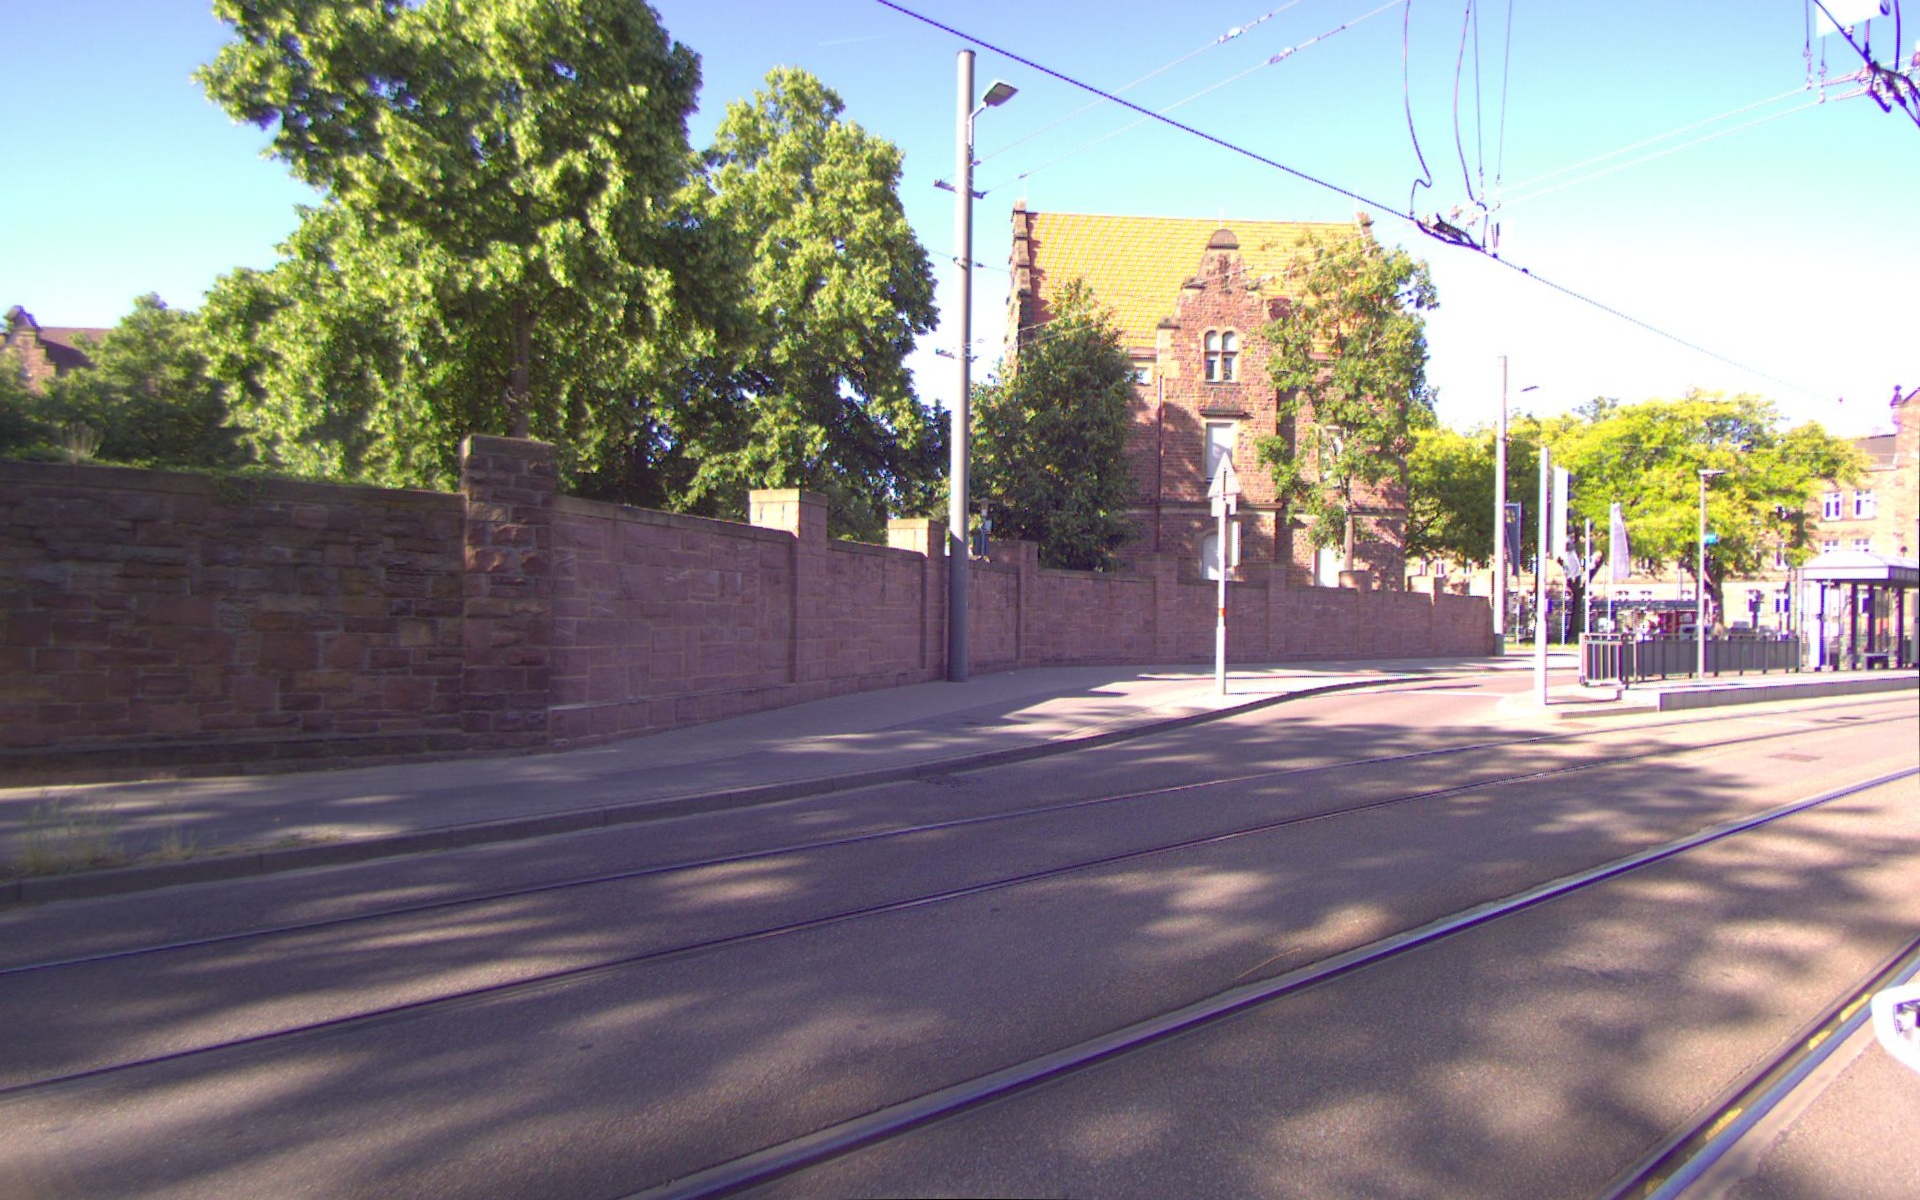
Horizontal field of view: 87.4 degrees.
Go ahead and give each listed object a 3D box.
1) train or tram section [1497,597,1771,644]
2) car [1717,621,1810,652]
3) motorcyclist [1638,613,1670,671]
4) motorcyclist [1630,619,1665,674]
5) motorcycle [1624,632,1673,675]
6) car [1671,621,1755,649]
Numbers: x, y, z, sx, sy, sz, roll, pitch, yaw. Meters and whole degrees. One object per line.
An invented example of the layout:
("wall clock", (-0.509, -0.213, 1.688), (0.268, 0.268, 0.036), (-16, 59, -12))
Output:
("train or tram section", (50.038, 1.459, 75.883), (3.312, 3.196, 17.280), (2, -1, -33))
("car", (47.761, 2.160, 59.795), (1.798, 1.651, 3.964), (2, 0, -32))
("motorcyclist", (18.898, 1.135, 27.356), (0.462, 1.536, 0.601), (1, 0, -40))
("motorcyclist", (18.492, 1.243, 27.028), (0.442, 1.460, 0.678), (1, 0, -39))
("motorcycle", (18.566, 1.420, 27.086), (1.841, 1.108, 0.604), (1, 0, -39))
("car", (49.187, 2.243, 65.679), (1.798, 1.651, 3.964), (2, 0, -32))
